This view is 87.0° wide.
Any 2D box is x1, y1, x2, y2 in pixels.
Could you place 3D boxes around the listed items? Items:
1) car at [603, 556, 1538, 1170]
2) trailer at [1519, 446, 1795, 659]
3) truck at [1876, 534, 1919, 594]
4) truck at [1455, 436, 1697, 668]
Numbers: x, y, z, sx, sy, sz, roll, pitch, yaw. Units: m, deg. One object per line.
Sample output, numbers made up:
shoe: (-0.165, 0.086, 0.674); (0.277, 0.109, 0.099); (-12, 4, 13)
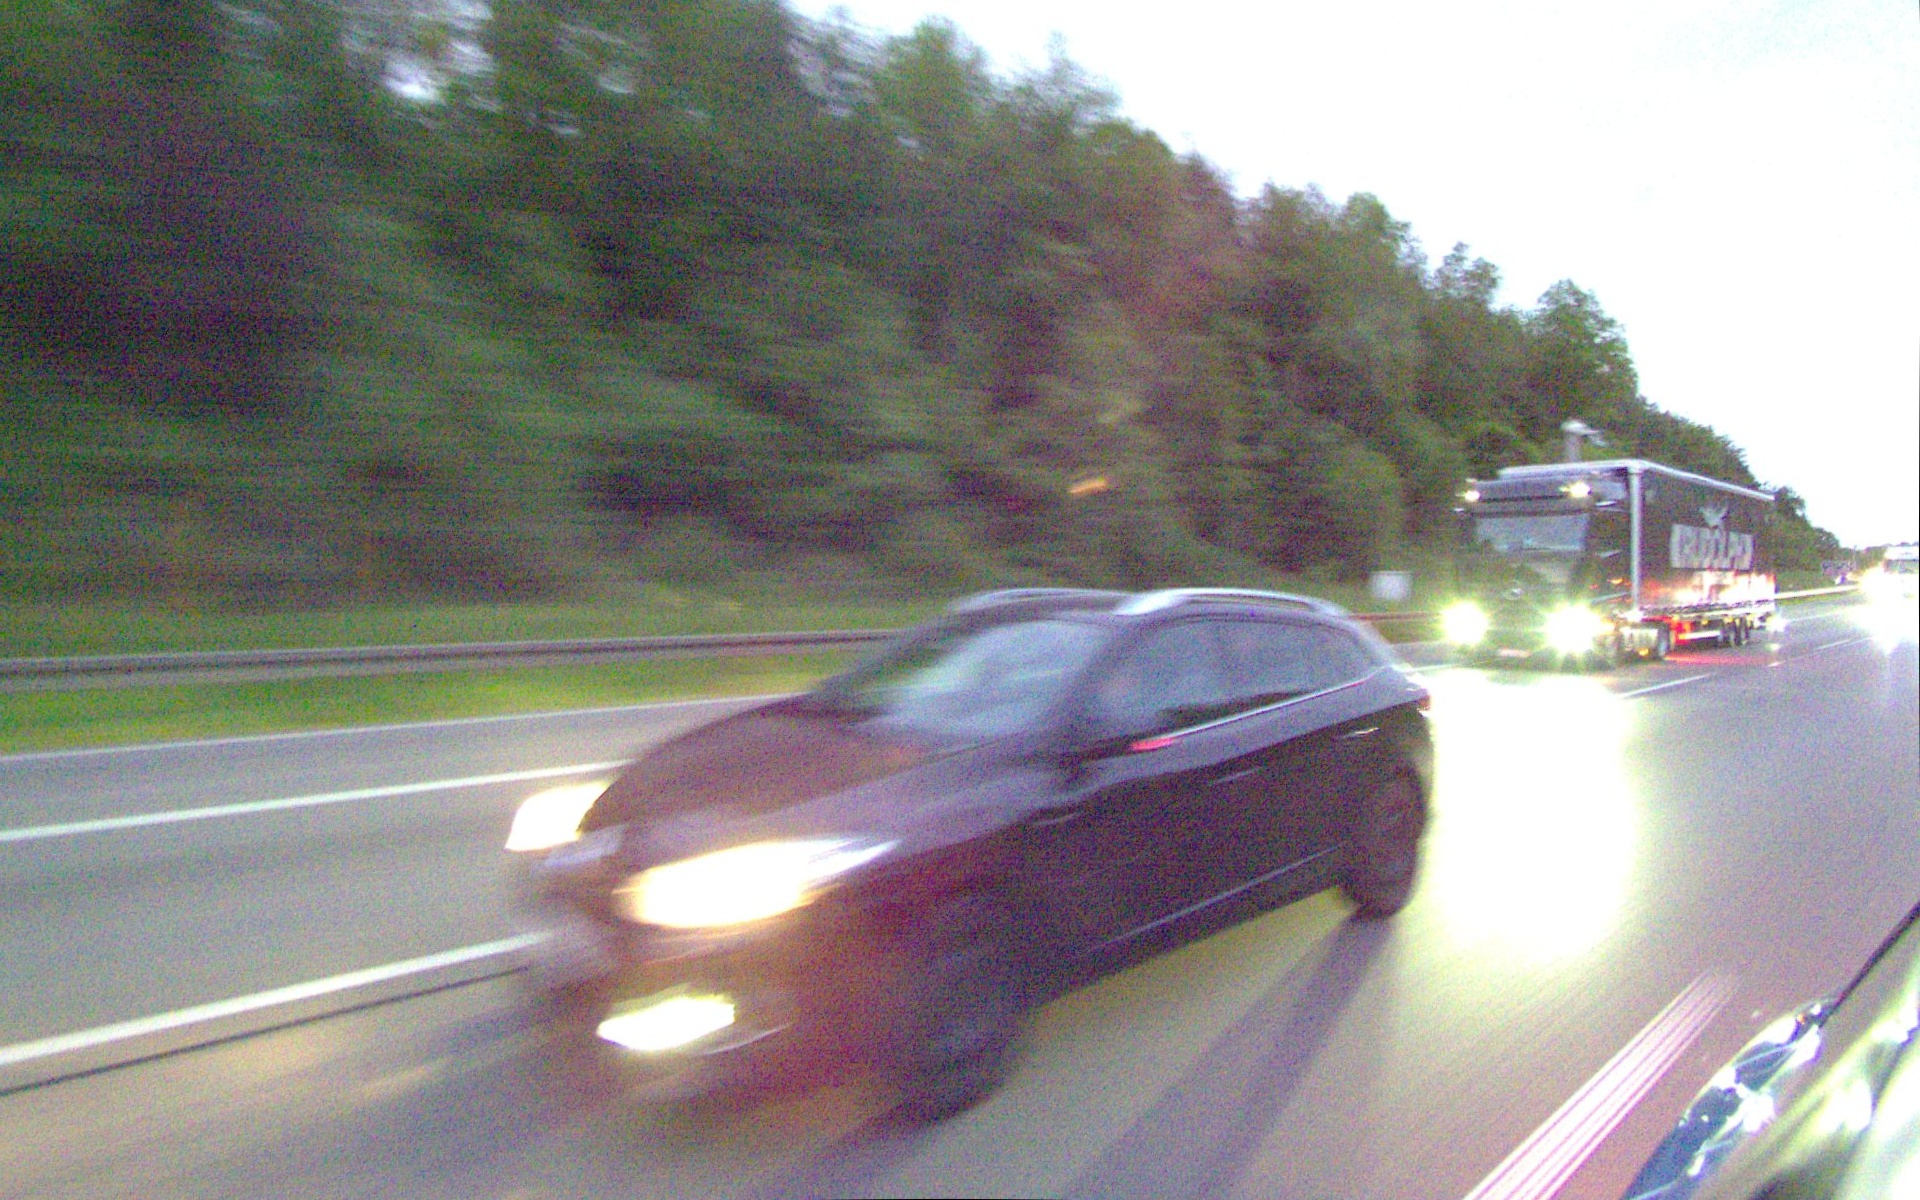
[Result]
car: (1.021, 0.595, 4.793); (4.867, 1.508, 1.693); (-1, 1, -44)
trailer: (17.598, -1.046, 24.878); (13.273, 4.123, 2.487); (-1, 1, -42)
truck: (69.522, -2.546, 73.190); (13.303, 4.017, 3.338); (-1, 1, -41)
truck: (12.429, -0.901, 20.268); (5.491, 4.017, 2.497); (-1, 1, -40)
